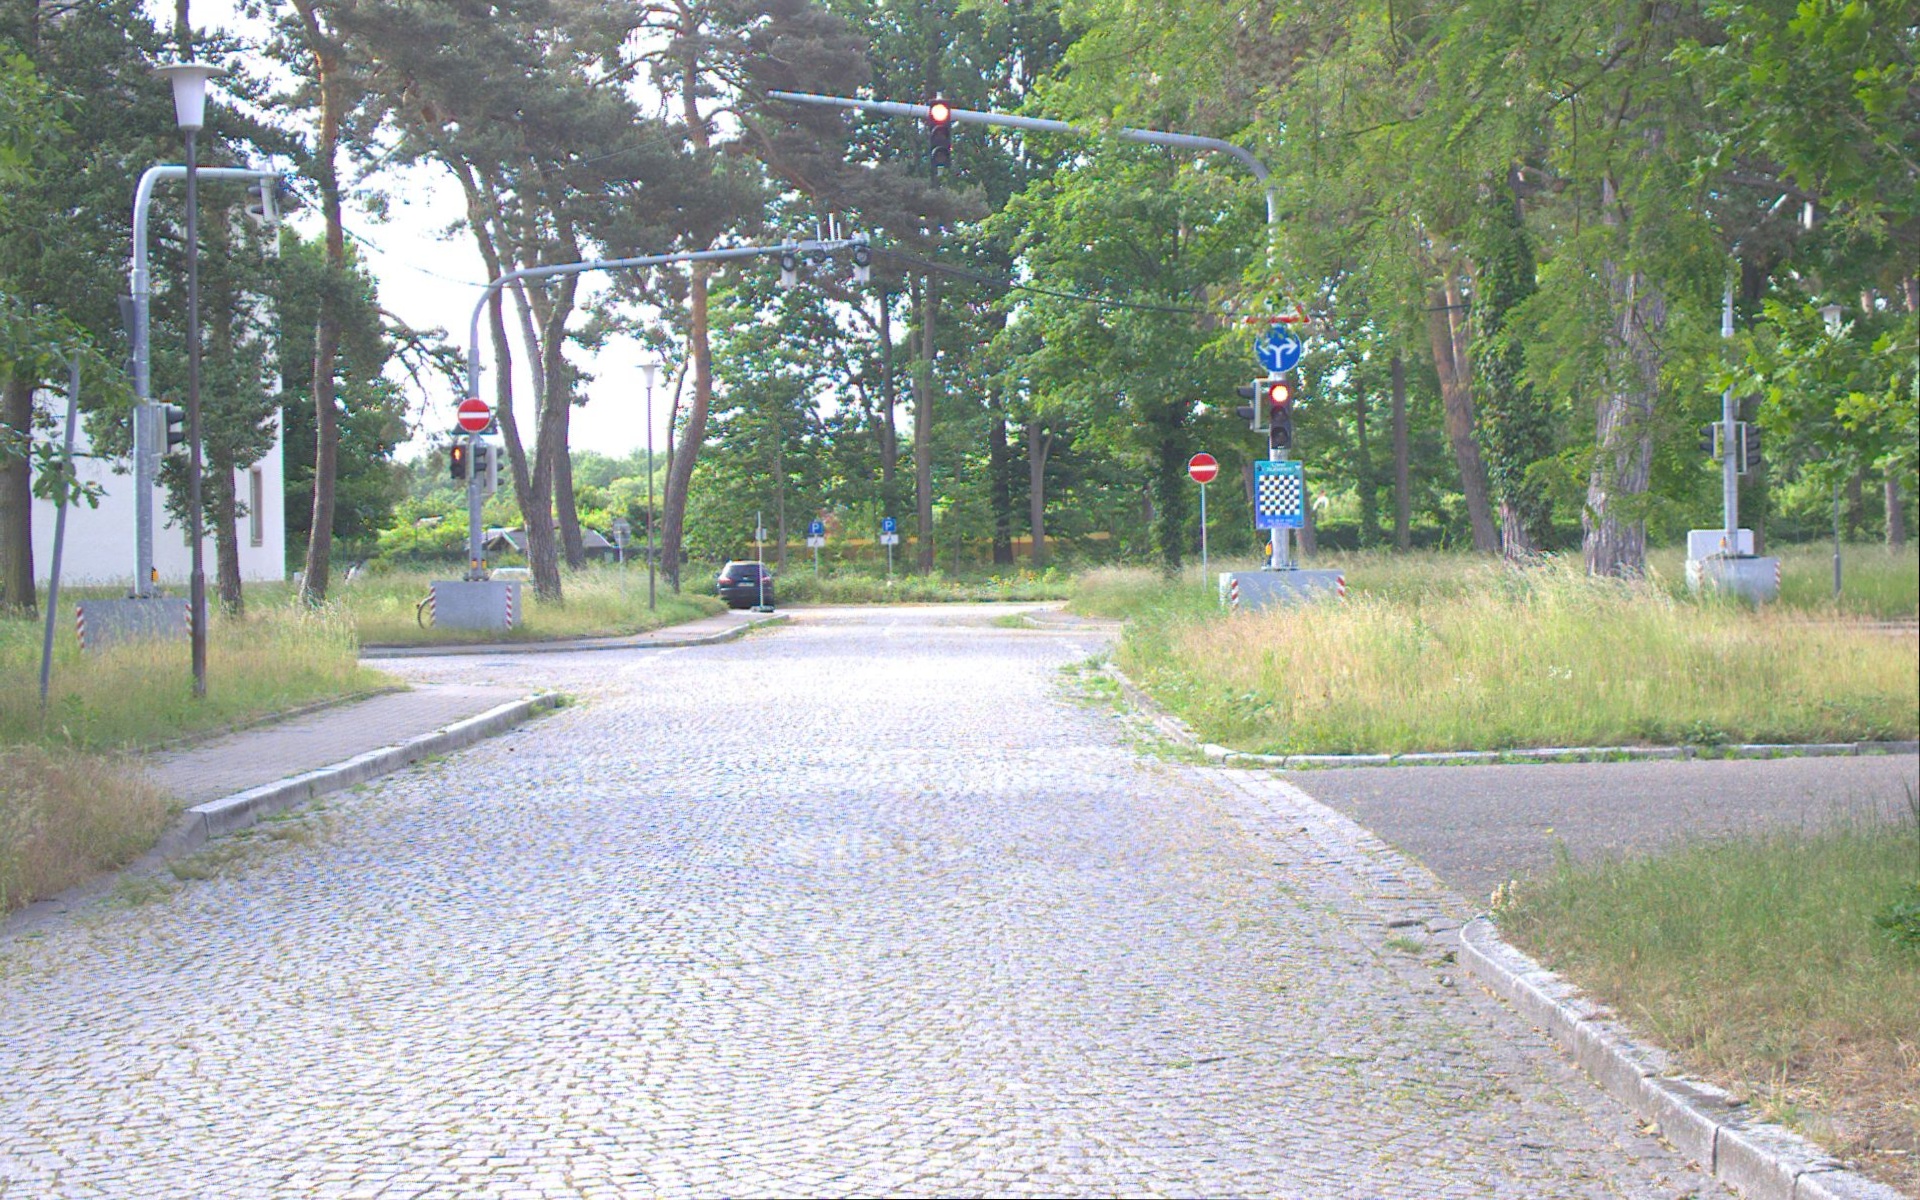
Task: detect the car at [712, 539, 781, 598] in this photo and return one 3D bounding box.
[{"bbox_3d":[-6.885,-1.043,111.233,2.056,1.840,4.000,-1,1,-1],"label":"car"}]
